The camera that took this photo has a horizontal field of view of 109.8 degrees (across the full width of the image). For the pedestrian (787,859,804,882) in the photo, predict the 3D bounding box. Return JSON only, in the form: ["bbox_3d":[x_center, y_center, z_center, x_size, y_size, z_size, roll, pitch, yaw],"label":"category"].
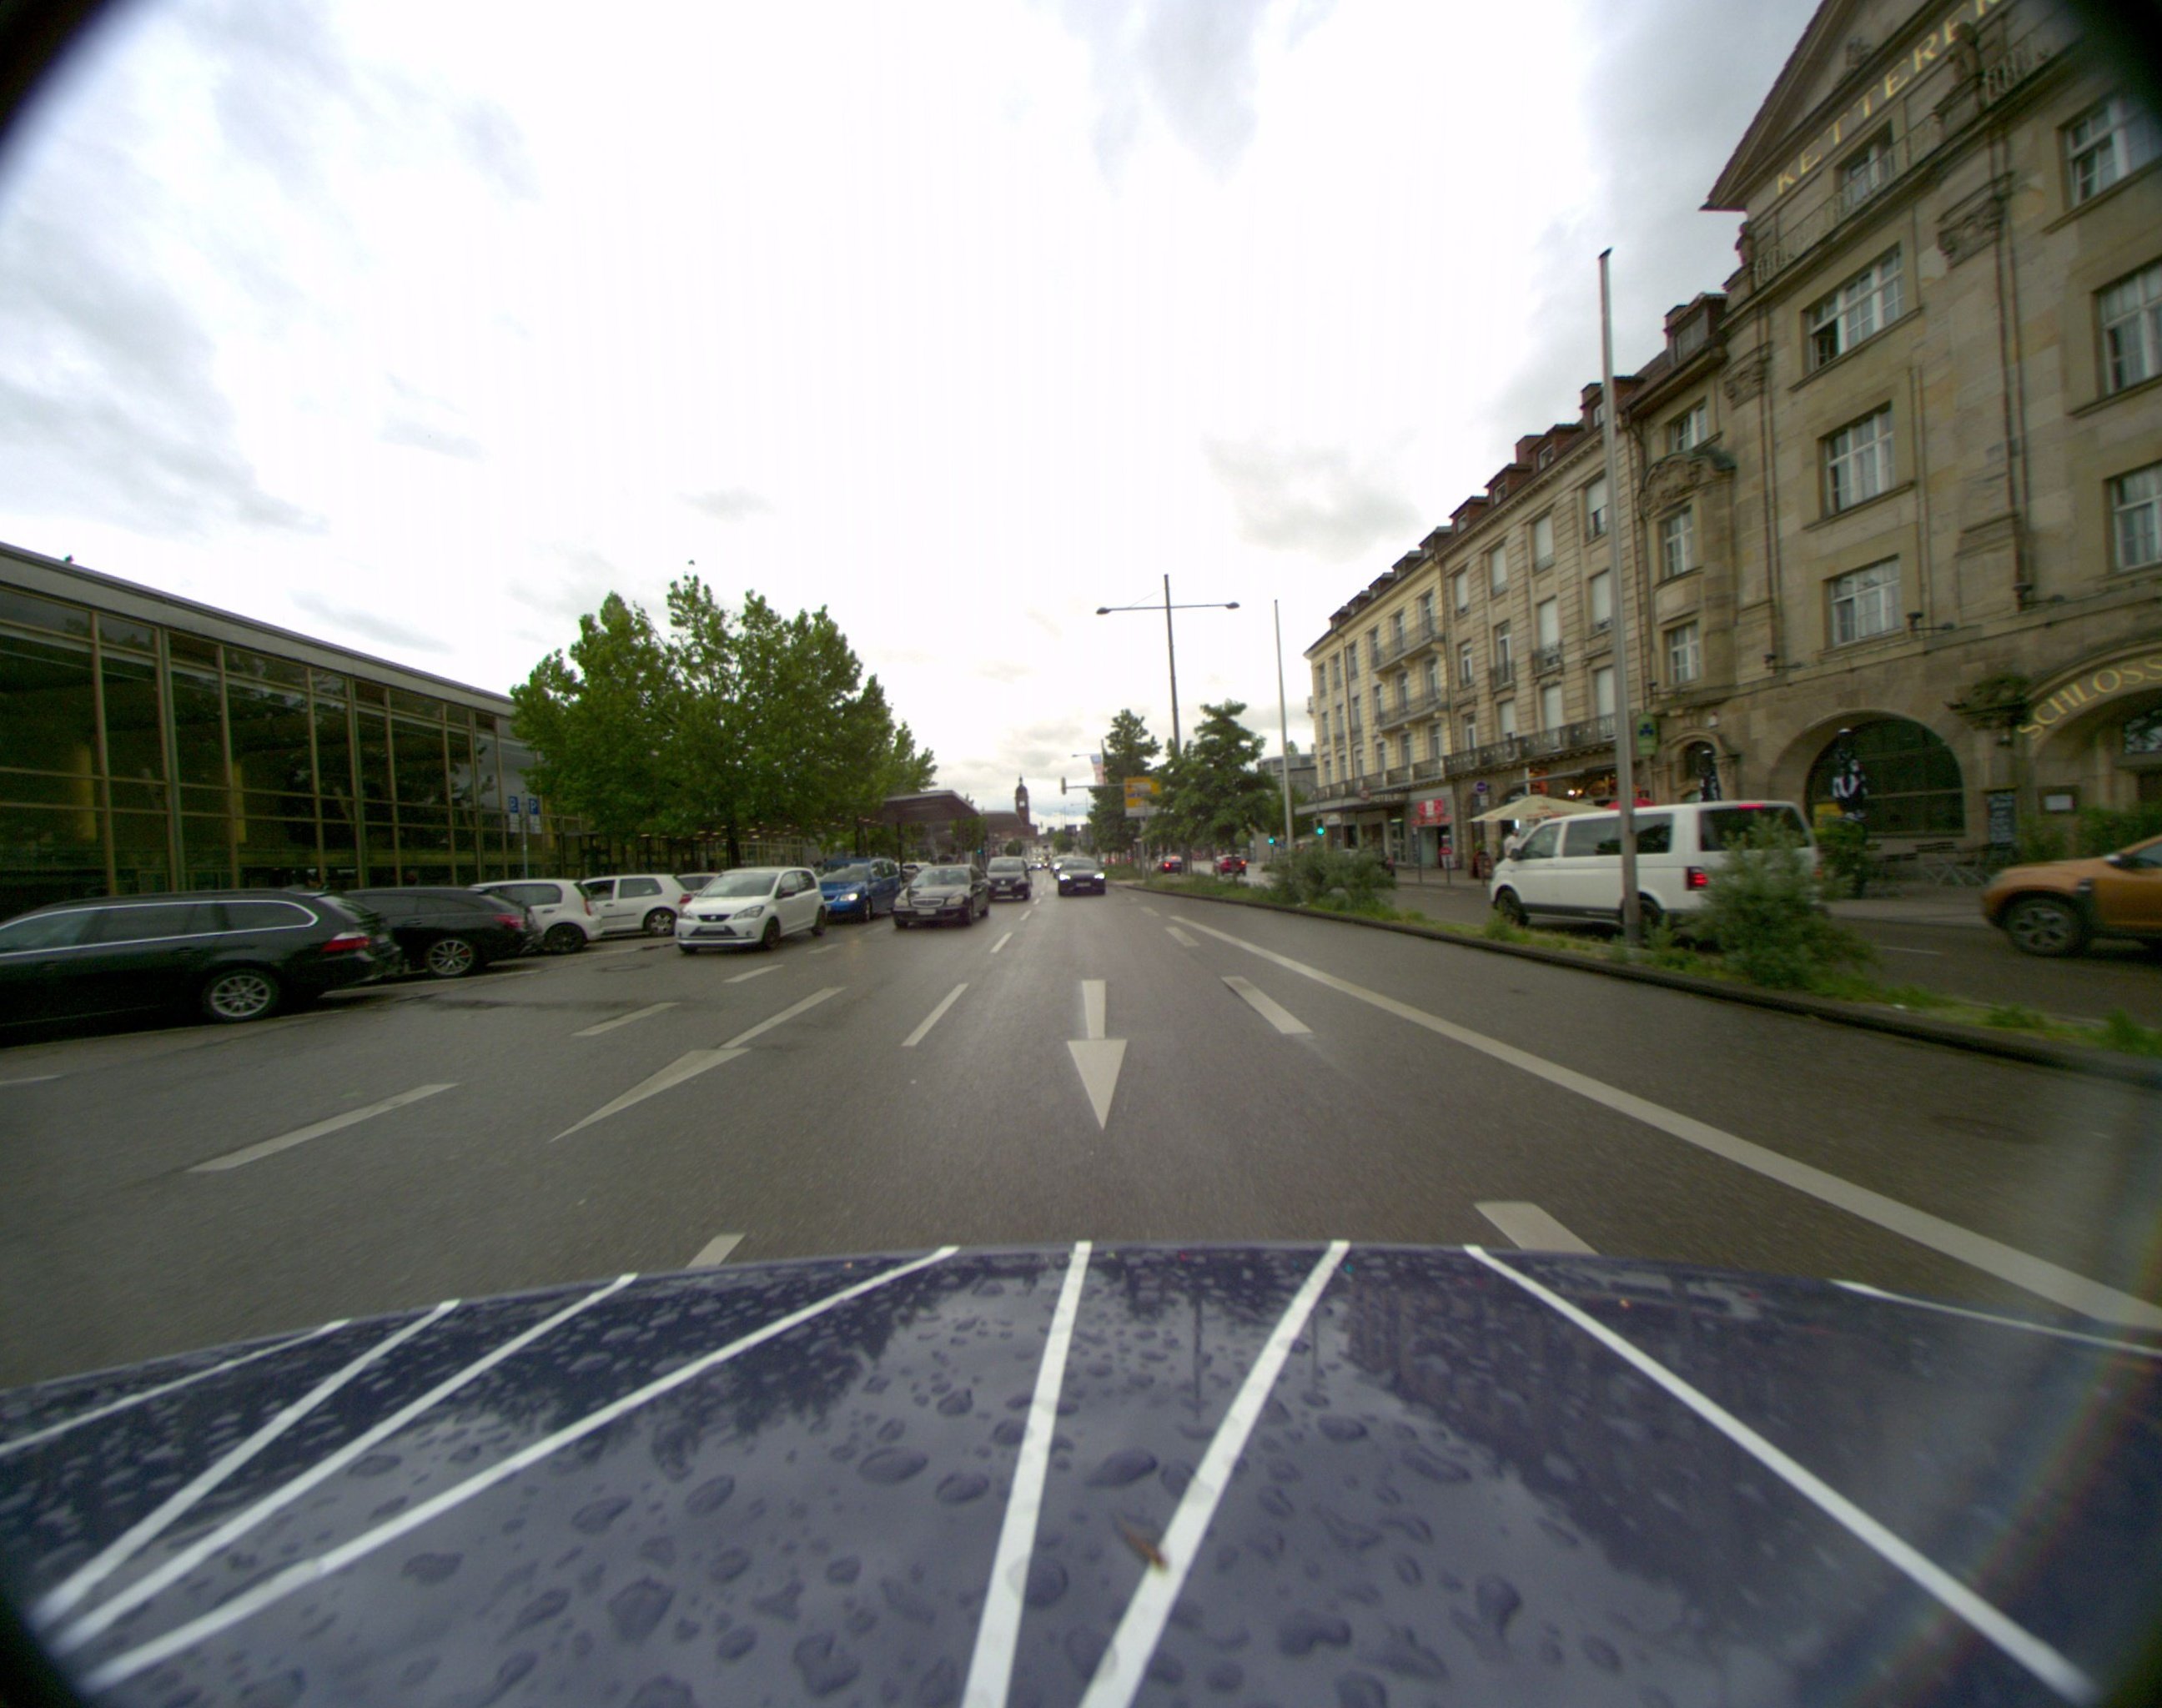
[{"bbox_3d":[-18.607,1.063,49.521,0.762,1.502,0.852,-2,1,-1],"label":"pedestrian"}]

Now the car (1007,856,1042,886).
[{"bbox_3d":[-3.050,0.879,41.618,1.619,1.477,3.669,-2,0,-1],"label":"car"}]

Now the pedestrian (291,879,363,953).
[{"bbox_3d":[-17.571,1.431,17.725,0.758,1.632,0.833,-2,1,-1],"label":"pedestrian"}]

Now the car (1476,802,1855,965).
[{"bbox_3d":[8.523,0.352,11.845,1.926,1.962,4.853,-2,0,-4],"label":"car"}]

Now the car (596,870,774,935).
[{"bbox_3d":[-10.344,1.198,20.026,3.936,1.391,1.775,-2,1,-29],"label":"car"}]

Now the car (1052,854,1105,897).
[{"bbox_3d":[-0.026,0.793,29.684,1.871,1.466,3.826,-2,0,2],"label":"car"}]

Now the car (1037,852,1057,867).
[{"bbox_3d":[-3.542,0.579,80.694,1.984,1.438,3.907,-2,0,-1],"label":"car"}]

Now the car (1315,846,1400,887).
[{"bbox_3d":[10.515,0.456,29.179,1.632,1.423,3.759,-2,0,-4],"label":"car"}]

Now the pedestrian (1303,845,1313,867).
[{"bbox_3d":[15.754,0.151,52.717,0.643,1.480,0.747,-3,0,17],"label":"pedestrian"}]

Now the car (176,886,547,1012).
[{"bbox_3d":[-10.464,1.306,11.491,3.695,1.391,1.775,-2,1,-29],"label":"car"}]

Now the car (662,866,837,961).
[{"bbox_3d":[-6.194,1.040,14.670,1.661,1.466,3.589,-2,0,2],"label":"car"}]

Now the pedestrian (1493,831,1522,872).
[{"bbox_3d":[17.807,-0.120,31.713,0.765,1.661,0.678,-2,2,-7],"label":"pedestrian"}]

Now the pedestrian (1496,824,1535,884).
[{"bbox_3d":[14.239,-0.006,24.932,0.678,1.899,0.765,-7,2,0],"label":"pedestrian"}]

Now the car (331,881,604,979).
[{"bbox_3d":[-11.068,1.311,14.080,3.625,1.391,1.775,-2,1,-29],"label":"car"}]

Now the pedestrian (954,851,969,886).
[{"bbox_3d":[-6.087,0.741,38.640,0.560,1.741,0.700,-1,1,5],"label":"pedestrian"}]

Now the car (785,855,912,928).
[{"bbox_3d":[-6.032,0.899,20.319,1.824,1.673,4.417,-2,0,2],"label":"car"}]

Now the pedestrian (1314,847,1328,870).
[{"bbox_3d":[16.593,0.298,52.560,0.789,1.529,0.747,-3,0,17],"label":"pedestrian"}]

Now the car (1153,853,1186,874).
[{"bbox_3d":[6.746,0.664,58.263,1.847,1.455,5.029,-2,0,-1],"label":"car"}]

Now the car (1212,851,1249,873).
[{"bbox_3d":[10.490,0.540,53.505,1.682,1.437,3.914,-2,1,-2],"label":"car"}]

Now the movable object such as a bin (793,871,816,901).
[{"bbox_3d":[-10.349,1.190,28.443,0.691,1.101,0.548,-3,1,-15],"label":"movable object such as a bin"}]

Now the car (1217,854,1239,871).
[{"bbox_3d":[14.108,0.838,73.162,1.766,1.499,3.844,2,1,7],"label":"car"}]

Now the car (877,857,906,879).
[{"bbox_3d":[-15.055,1.076,60.553,1.821,1.546,4.460,-2,0,-10],"label":"car"}]

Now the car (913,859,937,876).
[{"bbox_3d":[-16.205,1.403,78.954,1.820,1.581,4.076,-2,0,-4],"label":"car"}]

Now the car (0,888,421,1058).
[{"bbox_3d":[-10.584,1.259,8.512,4.477,1.462,1.915,-2,1,-30],"label":"car"}]

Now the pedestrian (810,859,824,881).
[{"bbox_3d":[-20.206,1.252,58.150,0.762,1.639,0.852,-2,1,-1],"label":"pedestrian"}]

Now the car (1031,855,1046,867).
[{"bbox_3d":[-6.143,1.040,109.595,2.055,1.581,4.076,-2,0,-3],"label":"car"}]

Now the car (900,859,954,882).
[{"bbox_3d":[-11.027,1.172,54.221,1.824,1.482,4.148,-2,1,-43],"label":"car"}]

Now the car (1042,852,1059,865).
[{"bbox_3d":[-3.988,0.524,99.758,2.055,1.581,4.076,-2,0,-4],"label":"car"}]

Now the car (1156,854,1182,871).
[{"bbox_3d":[8.479,0.816,73.472,1.847,1.455,4.372,-2,0,-1],"label":"car"}]

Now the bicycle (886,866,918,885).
[{"bbox_3d":[-10.039,1.206,42.651,1.721,1.040,0.524,-1,1,-11],"label":"bicycle"}]

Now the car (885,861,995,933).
[{"bbox_3d":[-3.272,0.951,18.396,1.872,1.466,3.825,-2,0,0],"label":"car"}]

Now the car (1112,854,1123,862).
[{"bbox_3d":[6.797,0.711,141.801,1.983,1.438,3.908,-2,0,1],"label":"car"}]

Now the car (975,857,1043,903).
[{"bbox_3d":[-2.532,0.886,27.598,1.871,1.466,3.826,-2,0,2],"label":"car"}]

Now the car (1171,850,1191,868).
[{"bbox_3d":[10.560,0.515,80.644,1.815,1.740,3.812,-2,0,4],"label":"car"}]

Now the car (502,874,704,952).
[{"bbox_3d":[-10.553,1.243,17.058,3.625,1.391,1.775,-2,1,-29],"label":"car"}]

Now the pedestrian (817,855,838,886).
[{"bbox_3d":[-14.768,0.967,44.293,0.823,1.747,0.913,-2,1,5],"label":"pedestrian"}]

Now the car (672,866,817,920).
[{"bbox_3d":[-10.361,1.166,23.652,3.935,1.391,1.776,-2,1,-22],"label":"car"}]

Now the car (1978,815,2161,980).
[{"bbox_3d":[11.958,0.407,7.185,1.999,1.670,4.100,-2,0,-4],"label":"car"}]

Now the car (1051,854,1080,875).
[{"bbox_3d":[-1.101,0.736,56.387,1.983,1.438,3.908,-1,1,1],"label":"car"}]

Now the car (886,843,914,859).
[{"bbox_3d":[-17.218,-0.290,72.595,1.820,1.482,4.463,-2,0,-4],"label":"car"}]
